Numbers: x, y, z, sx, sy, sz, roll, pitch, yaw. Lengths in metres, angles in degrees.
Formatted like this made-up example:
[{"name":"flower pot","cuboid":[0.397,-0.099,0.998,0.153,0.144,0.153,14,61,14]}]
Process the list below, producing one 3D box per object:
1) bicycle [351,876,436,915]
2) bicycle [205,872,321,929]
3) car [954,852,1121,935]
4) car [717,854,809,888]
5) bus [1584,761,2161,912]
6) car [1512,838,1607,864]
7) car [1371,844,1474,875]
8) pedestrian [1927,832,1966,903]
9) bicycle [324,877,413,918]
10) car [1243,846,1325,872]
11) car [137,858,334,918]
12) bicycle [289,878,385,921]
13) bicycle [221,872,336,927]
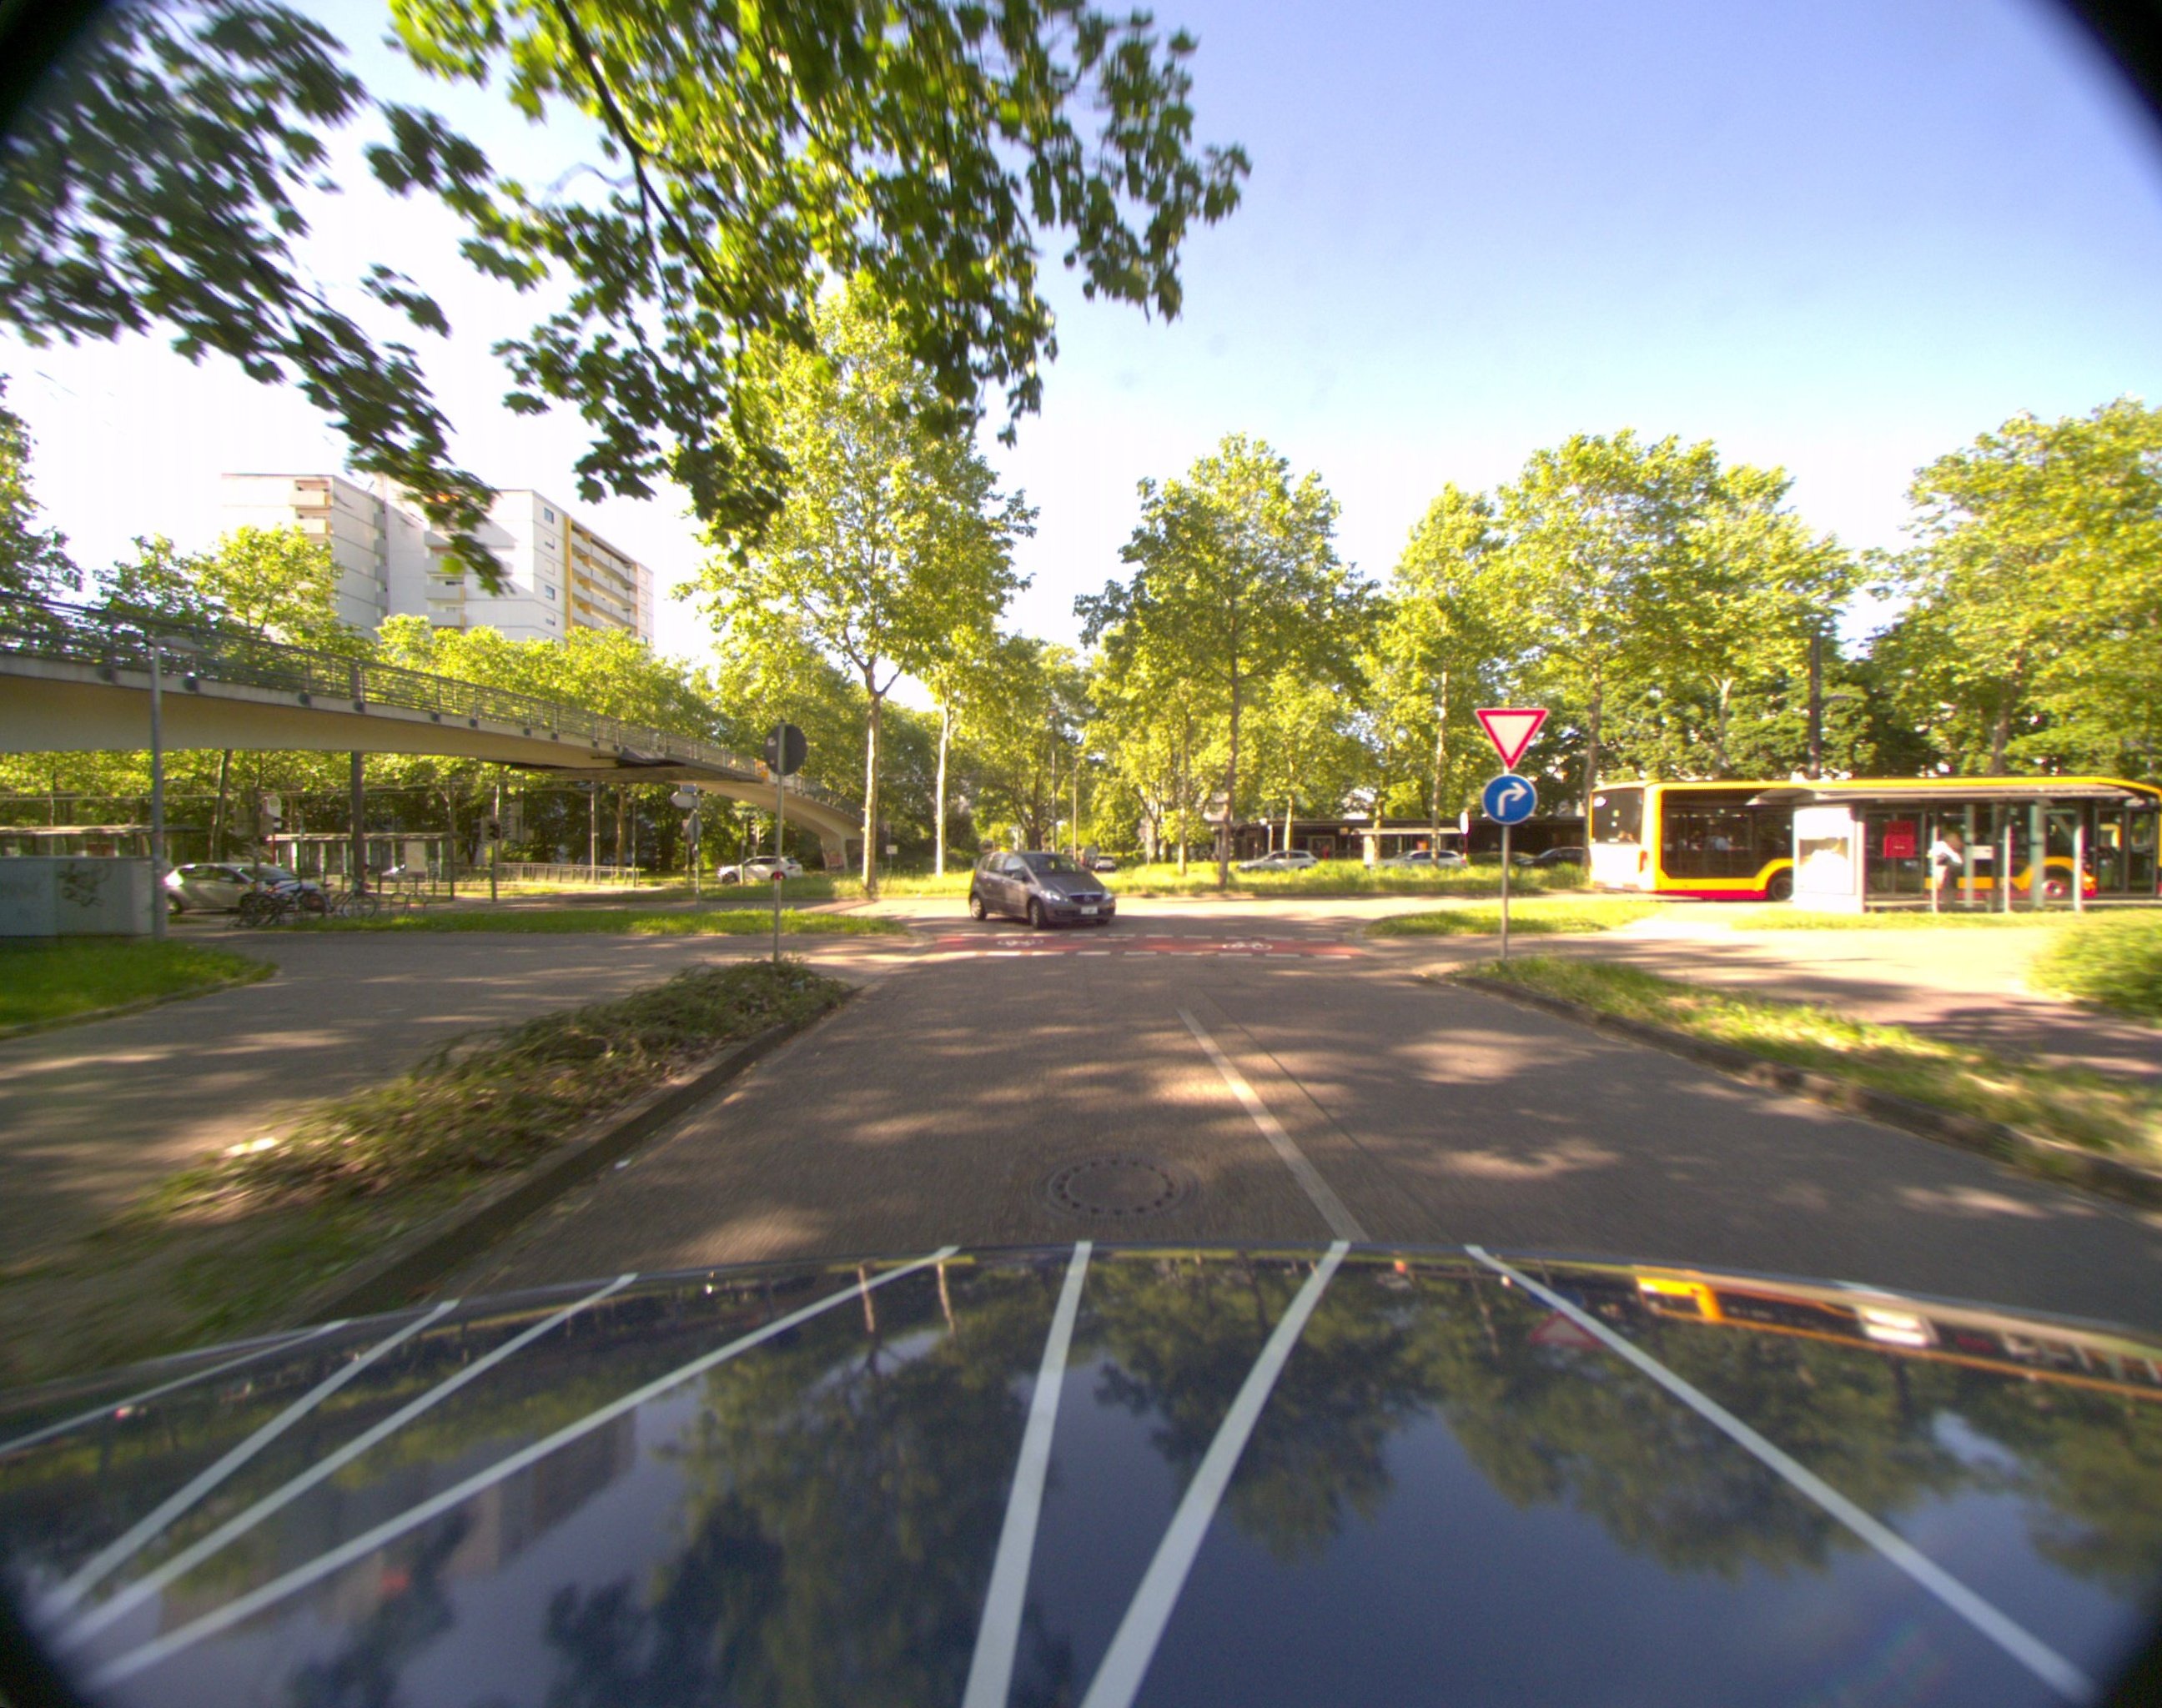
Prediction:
[{"name":"bicycle","cuboid":[-17.391,1.043,19.231,1.718,0.907,0.459,-2,1,1]},{"name":"bicycle","cuboid":[-17.361,0.981,16.155,1.724,1.097,0.420,-2,1,-11]},{"name":"car","cuboid":[-1.075,0.760,16.666,1.738,1.578,3.989,-1,1,-36]},{"name":"car","cuboid":[-17.589,0.923,42.190,4.330,1.637,1.720,-2,1,3]},{"name":"bus","cuboid":[20.293,-0.413,19.879,12.139,3.251,2.698,-2,1,4]},{"name":"car","cuboid":[25.718,-0.145,40.930,4.062,1.213,1.620,-2,1,4]},{"name":"car","cuboid":[17.477,0.253,39.019,4.482,1.384,1.619,-2,1,2]},{"name":"pedestrian","cuboid":[20.086,0.311,17.633,0.591,1.593,0.478,-3,1,-30]},{"name":"bicycle","cuboid":[-17.428,1.051,18.596,1.718,0.907,0.459,-2,1,1]},{"name":"car","cuboid":[10.968,0.257,41.217,4.062,1.213,1.620,-2,1,4]},{"name":"car","cuboid":[-26.601,1.035,23.994,4.330,1.637,1.720,-2,1,3]},{"name":"bicycle","cuboid":[-17.534,1.063,17.922,1.718,0.907,0.513,-2,1,1]},{"name":"bicycle","cuboid":[-17.643,0.986,16.726,1.867,1.097,0.496,-2,1,-4]}]
